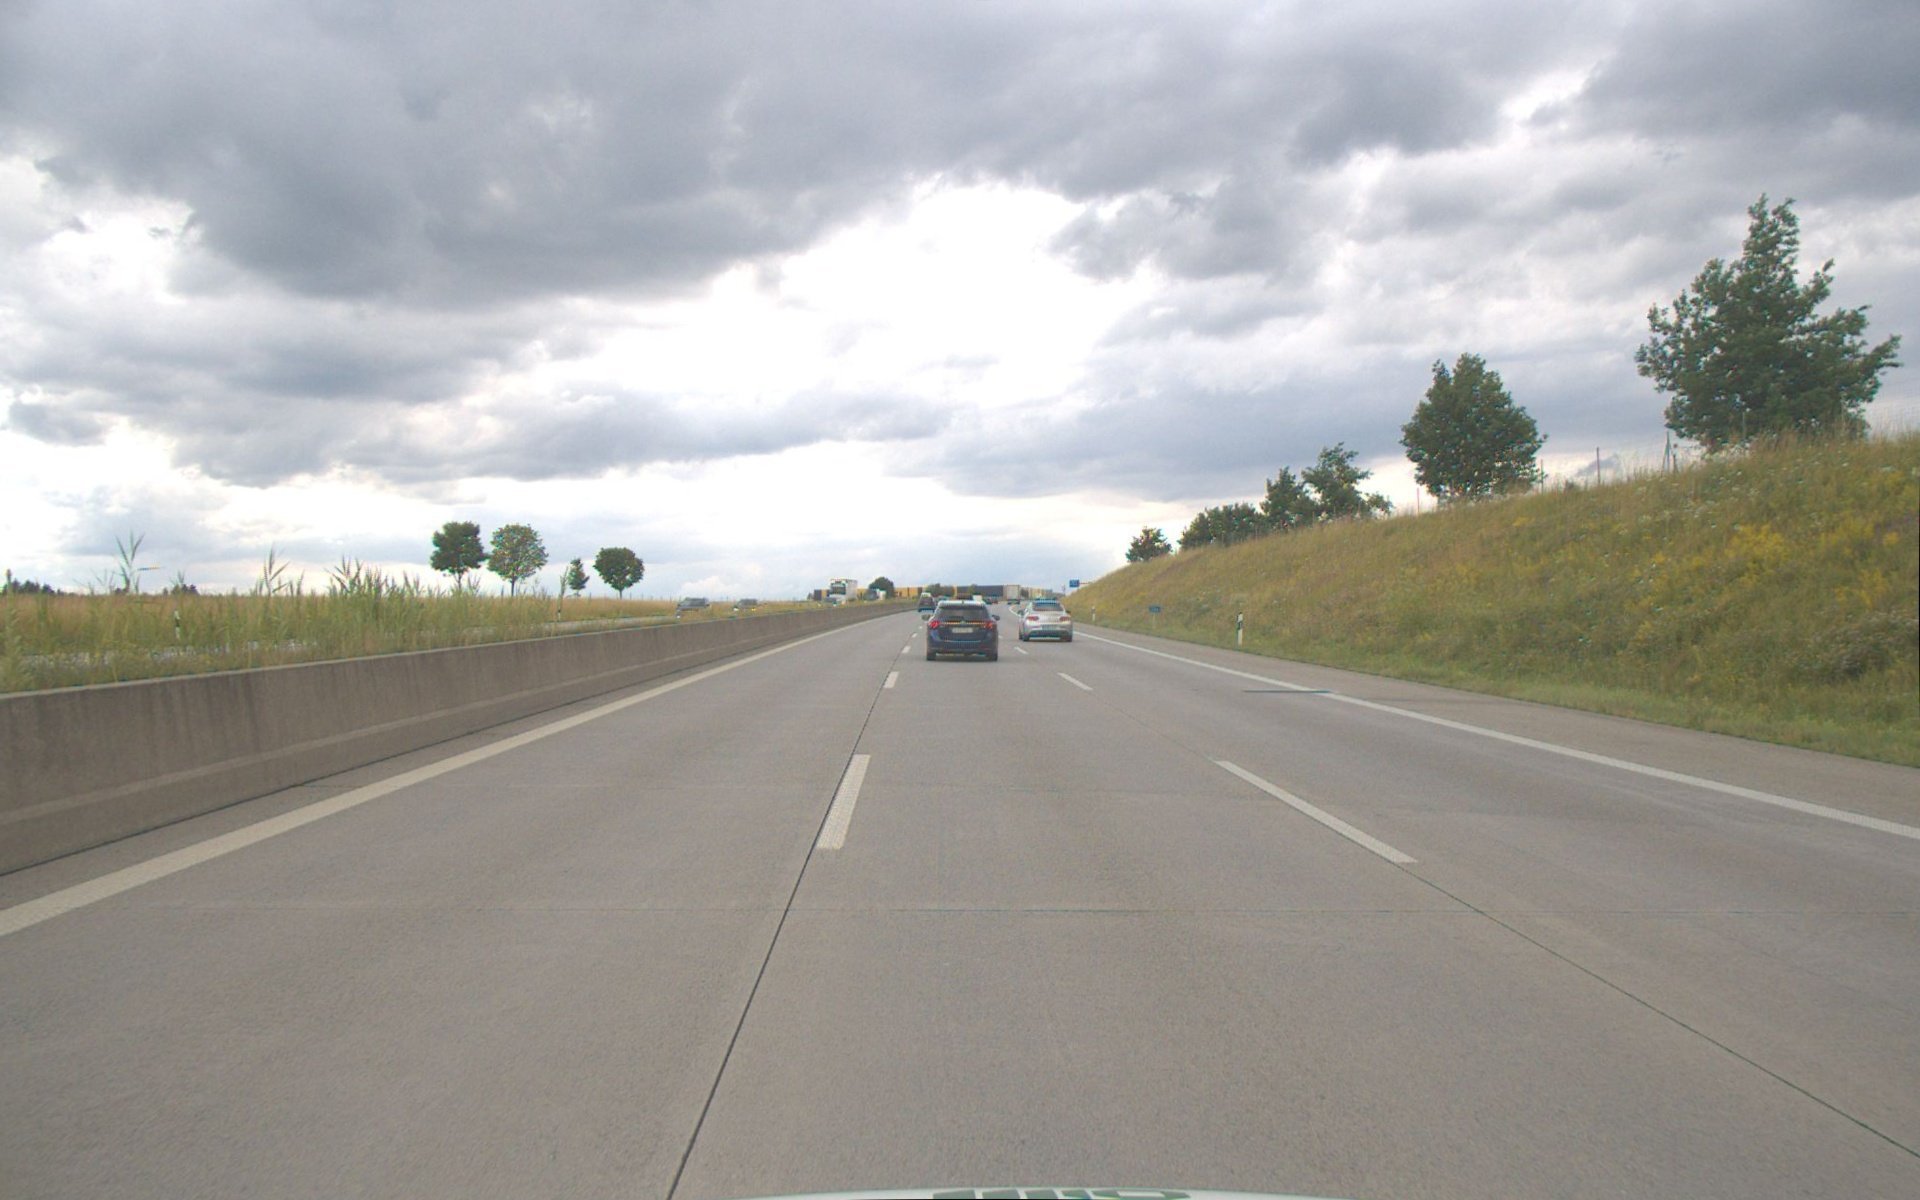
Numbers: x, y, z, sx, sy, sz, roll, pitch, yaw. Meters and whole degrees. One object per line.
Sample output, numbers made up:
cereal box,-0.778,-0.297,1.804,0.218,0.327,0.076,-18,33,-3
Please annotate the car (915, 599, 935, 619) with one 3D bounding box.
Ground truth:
car,-3.696,0.963,173.403,2.005,2.049,3.998,1,-1,-2

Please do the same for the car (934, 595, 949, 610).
car,-2.578,0.326,228.558,1.953,2.049,3.998,1,-1,-2

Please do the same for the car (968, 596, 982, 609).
car,2.339,0.420,257.877,1.952,2.049,4.001,1,-1,2

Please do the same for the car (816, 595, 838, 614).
car,-11.971,0.399,148.811,1.655,1.638,3.999,0,0,-1

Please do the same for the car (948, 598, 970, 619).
car,-0.123,0.890,163.511,1.953,2.049,3.998,1,-1,-2

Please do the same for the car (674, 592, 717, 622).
car,-15.596,0.406,97.644,1.953,1.713,4.062,0,0,-1

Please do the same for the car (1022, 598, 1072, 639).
car,3.115,0.651,60.009,1.751,1.428,4.222,0,0,2

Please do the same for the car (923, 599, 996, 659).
car,0.005,0.703,41.226,1.738,1.438,4.000,0,0,0

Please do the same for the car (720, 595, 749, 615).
car,-16.522,0.351,121.535,1.628,1.423,3.999,0,0,-1
